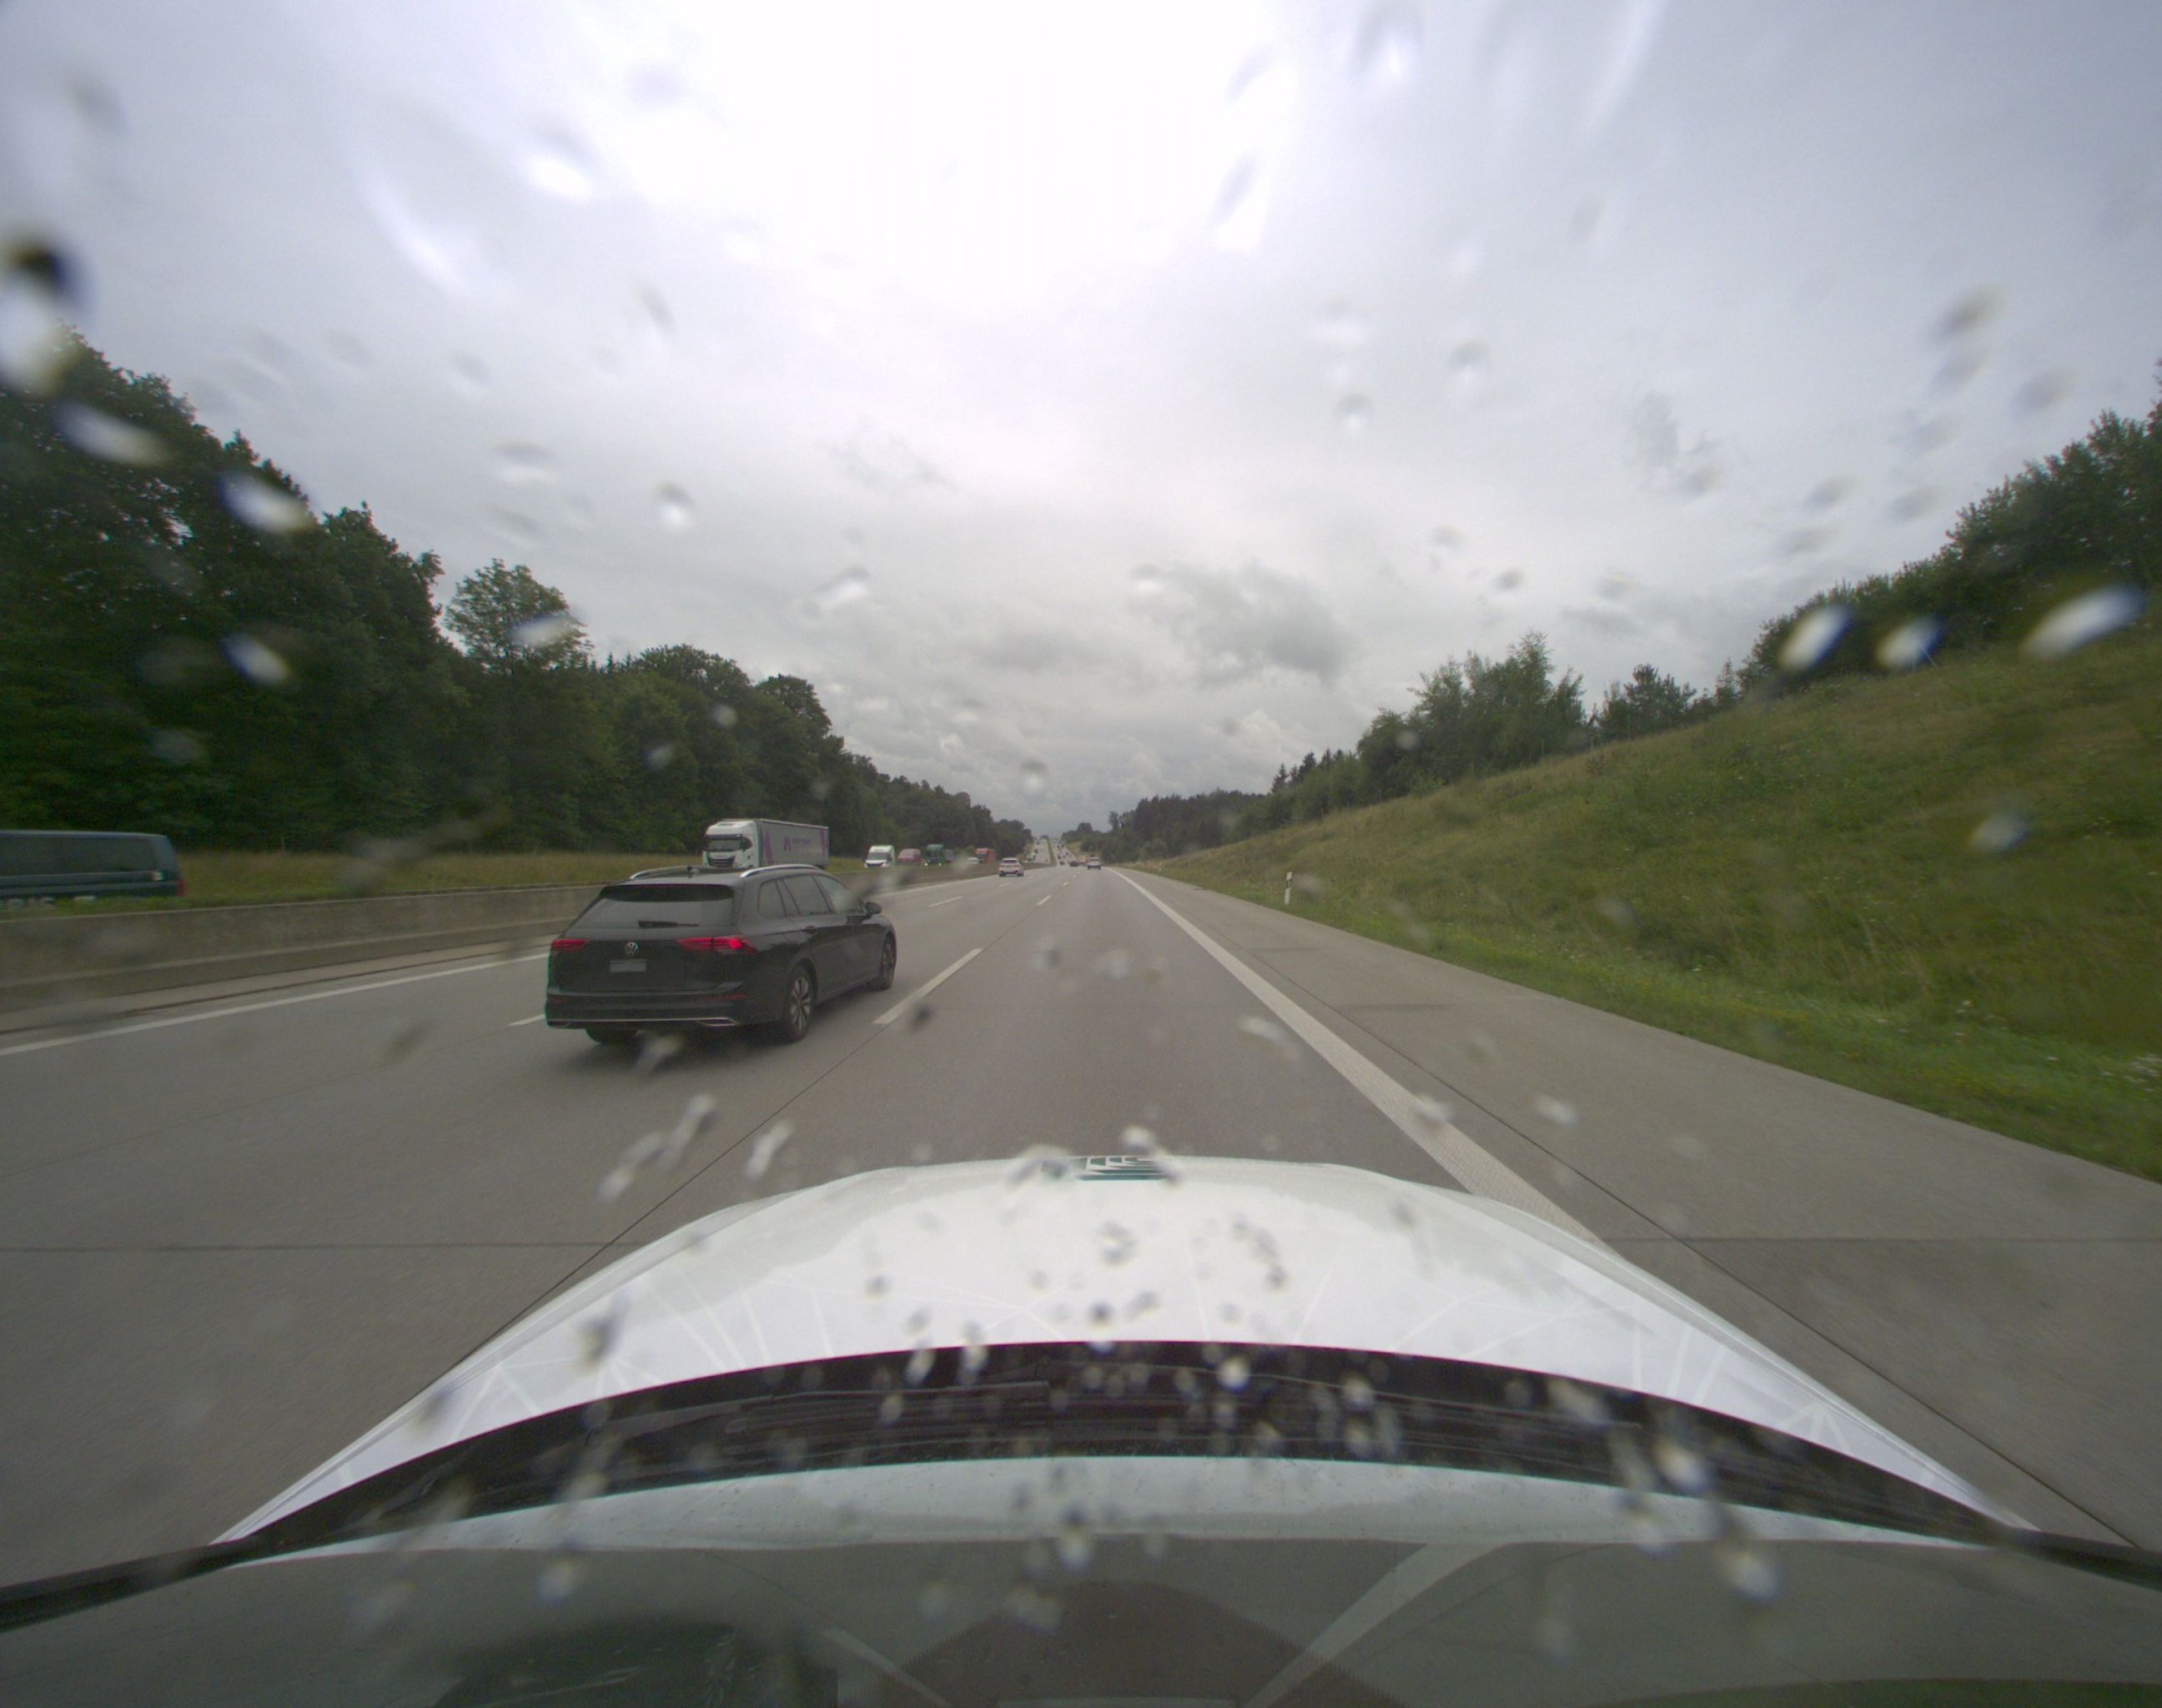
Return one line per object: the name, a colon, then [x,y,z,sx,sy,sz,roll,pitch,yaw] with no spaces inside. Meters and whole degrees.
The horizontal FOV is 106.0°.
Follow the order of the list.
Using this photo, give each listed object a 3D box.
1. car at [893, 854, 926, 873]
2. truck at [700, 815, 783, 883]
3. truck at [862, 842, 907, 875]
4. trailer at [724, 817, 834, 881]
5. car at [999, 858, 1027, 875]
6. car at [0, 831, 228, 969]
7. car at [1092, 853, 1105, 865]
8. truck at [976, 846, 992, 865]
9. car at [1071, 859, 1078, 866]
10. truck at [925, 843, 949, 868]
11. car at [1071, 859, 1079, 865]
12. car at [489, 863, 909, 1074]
car: [-17.308,0.972,82.306,1.985,1.882,5.316,0,-1,3]
truck: [-21.809,-0.316,52.673,2.499,4.125,6.463,0,0,1]
truck: [-17.321,0.368,72.195,2.259,2.788,6.513,0,0,1]
trailer: [-21.639,-0.286,59.637,2.489,4.103,13.979,0,0,2]
car: [-5.771,1.038,69.567,1.941,1.356,4.260,0,0,1]
car: [-16.745,0.678,12.228,2.054,2.013,5.429,0,0,2]
car: [2.414,0.645,113.687,1.819,1.655,3.985,0,0,1]
truck: [-20.722,0.367,174.132,2.544,3.928,6.946,0,0,0]
car: [-1.691,2.257,217.111,1.887,1.750,3.997,0,0,-2]
truck: [-22.207,0.193,125.883,2.771,3.740,5.660,0,0,0]
car: [-1.552,2.111,218.888,1.930,1.375,4.591,0,0,-2]
car: [-3.123,0.819,7.863,1.745,1.398,4.487,0,0,3]
